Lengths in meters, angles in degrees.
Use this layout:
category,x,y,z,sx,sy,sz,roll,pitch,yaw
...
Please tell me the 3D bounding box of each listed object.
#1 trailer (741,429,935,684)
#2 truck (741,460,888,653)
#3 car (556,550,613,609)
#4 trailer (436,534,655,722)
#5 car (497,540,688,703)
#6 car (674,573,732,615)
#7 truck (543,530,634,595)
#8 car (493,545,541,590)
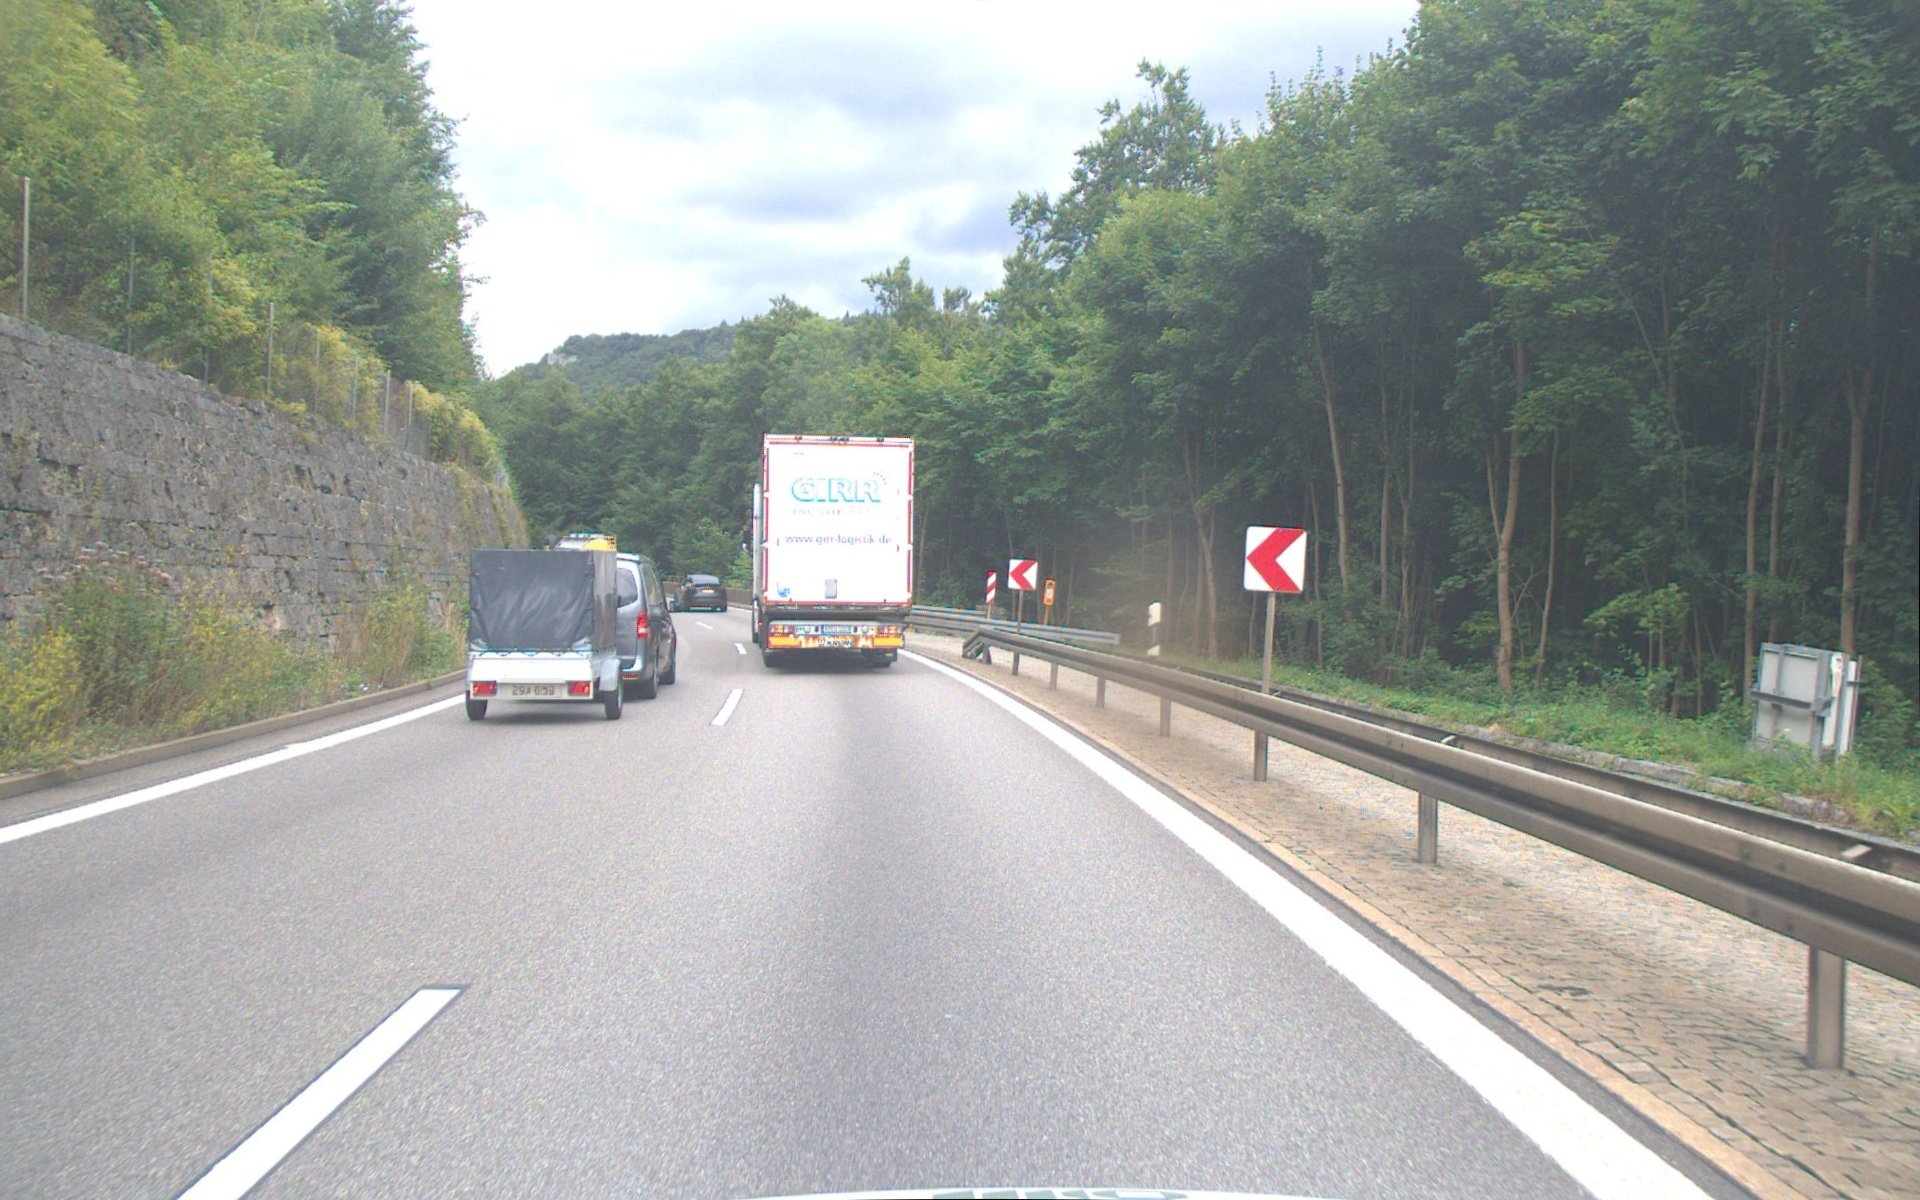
category,x,y,z,sx,sy,sz,roll,pitch,yaw
trailer,-2.796,-0.928,33.338,3.000,4.055,12.118,3,2,-8
truck,-3.643,-1.064,39.698,3.000,4.055,7.176,3,2,-8
car,-18.711,-1.038,82.213,1.959,2.718,6.899,3,0,-19
trailer,-4.681,0.291,19.163,1.933,1.973,3.427,0,0,-5
car,-5.081,0.256,23.611,1.955,2.049,5.534,0,0,-5
car,-11.337,-0.272,72.745,1.961,1.691,3.983,3,0,-16
truck,-24.764,-2.482,109.617,3.019,4.055,13.589,-1,1,-25
car,-28.303,-2.100,105.556,1.915,2.718,5.945,3,0,-25
